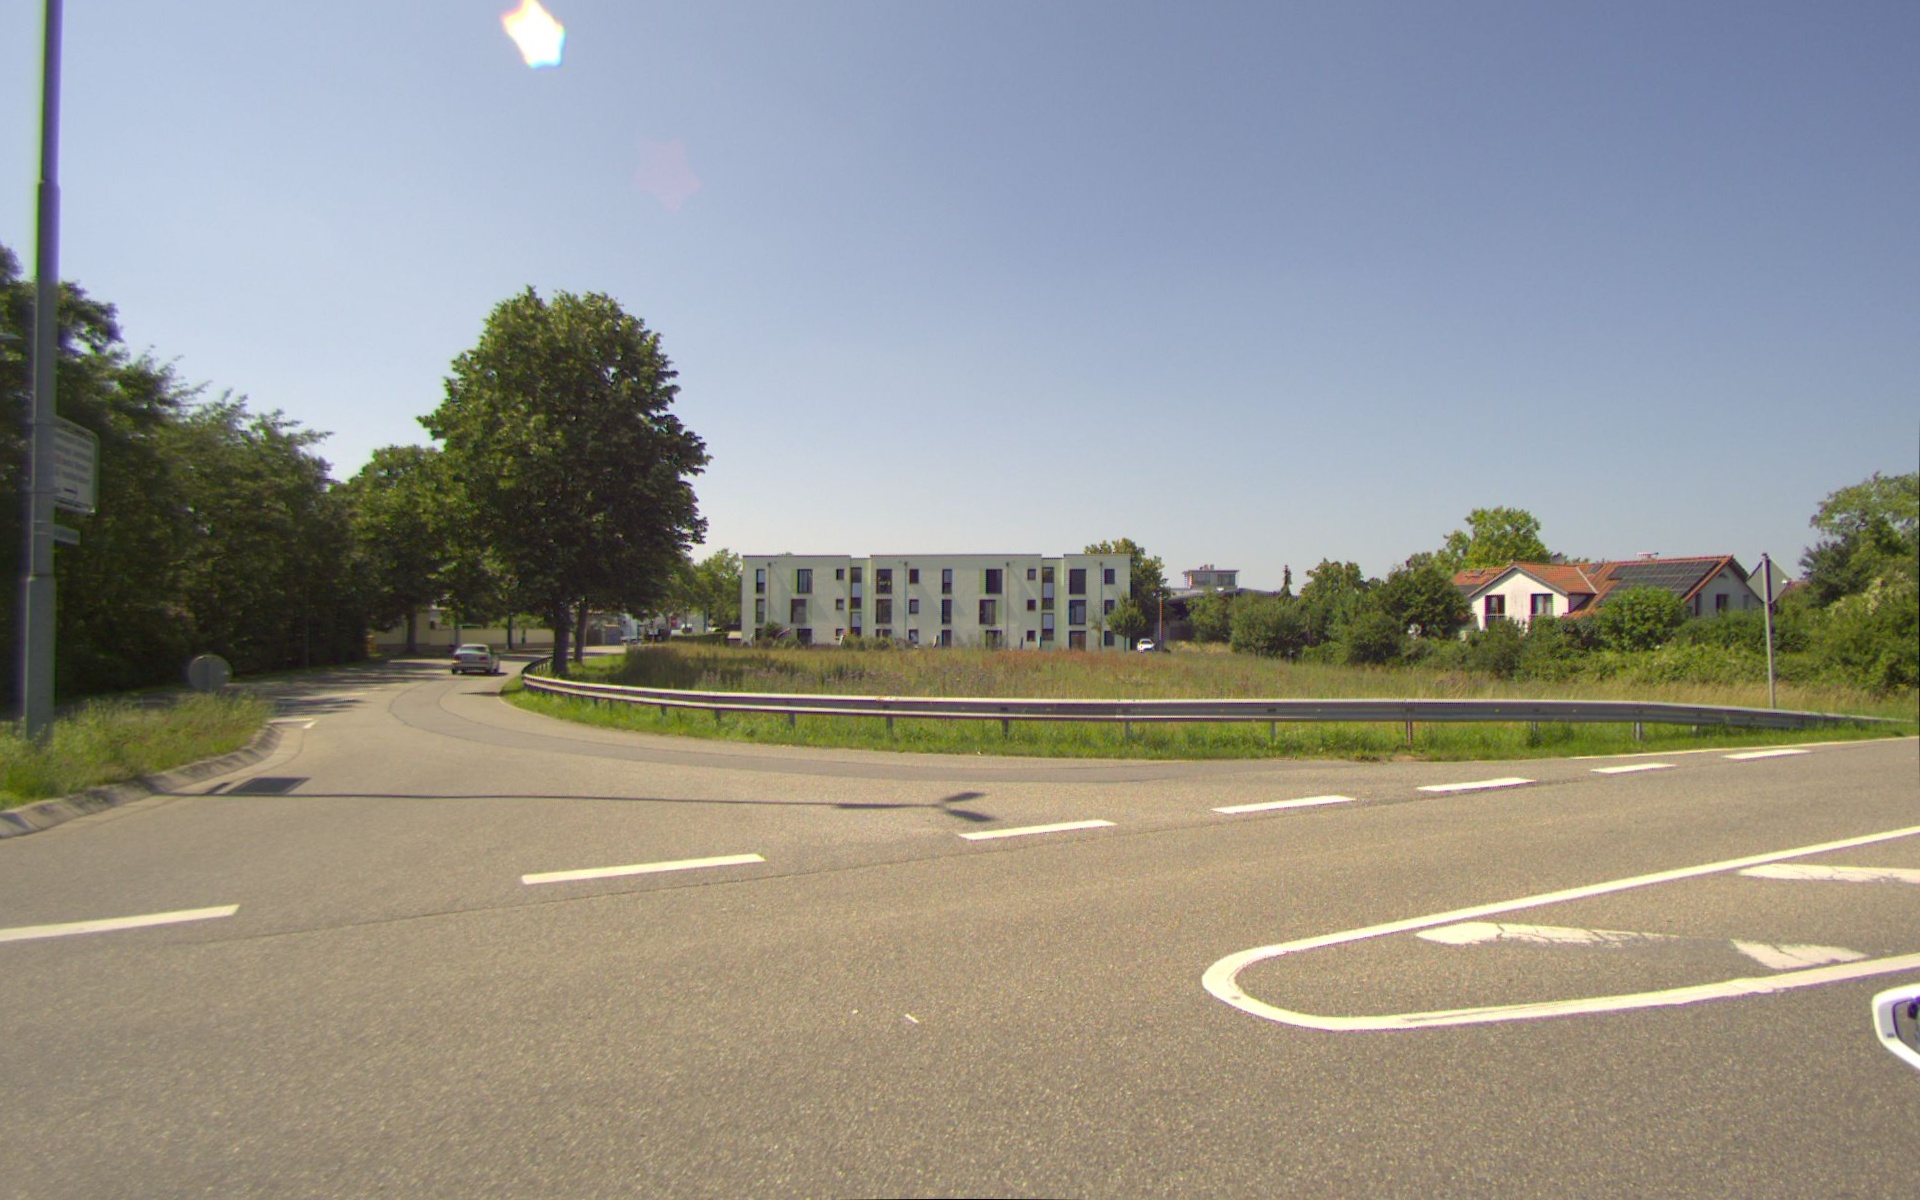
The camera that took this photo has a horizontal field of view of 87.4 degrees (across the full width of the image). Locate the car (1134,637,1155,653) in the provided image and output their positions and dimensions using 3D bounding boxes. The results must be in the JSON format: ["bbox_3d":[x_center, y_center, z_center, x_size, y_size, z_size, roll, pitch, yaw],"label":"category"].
[{"bbox_3d":[19.852,4.830,108.226,1.789,1.639,4.002,1,-1,3],"label":"car"}]

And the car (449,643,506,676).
[{"bbox_3d":[-23.382,2.853,48.806,1.613,1.490,4.404,0,-2,-14],"label":"car"}]
